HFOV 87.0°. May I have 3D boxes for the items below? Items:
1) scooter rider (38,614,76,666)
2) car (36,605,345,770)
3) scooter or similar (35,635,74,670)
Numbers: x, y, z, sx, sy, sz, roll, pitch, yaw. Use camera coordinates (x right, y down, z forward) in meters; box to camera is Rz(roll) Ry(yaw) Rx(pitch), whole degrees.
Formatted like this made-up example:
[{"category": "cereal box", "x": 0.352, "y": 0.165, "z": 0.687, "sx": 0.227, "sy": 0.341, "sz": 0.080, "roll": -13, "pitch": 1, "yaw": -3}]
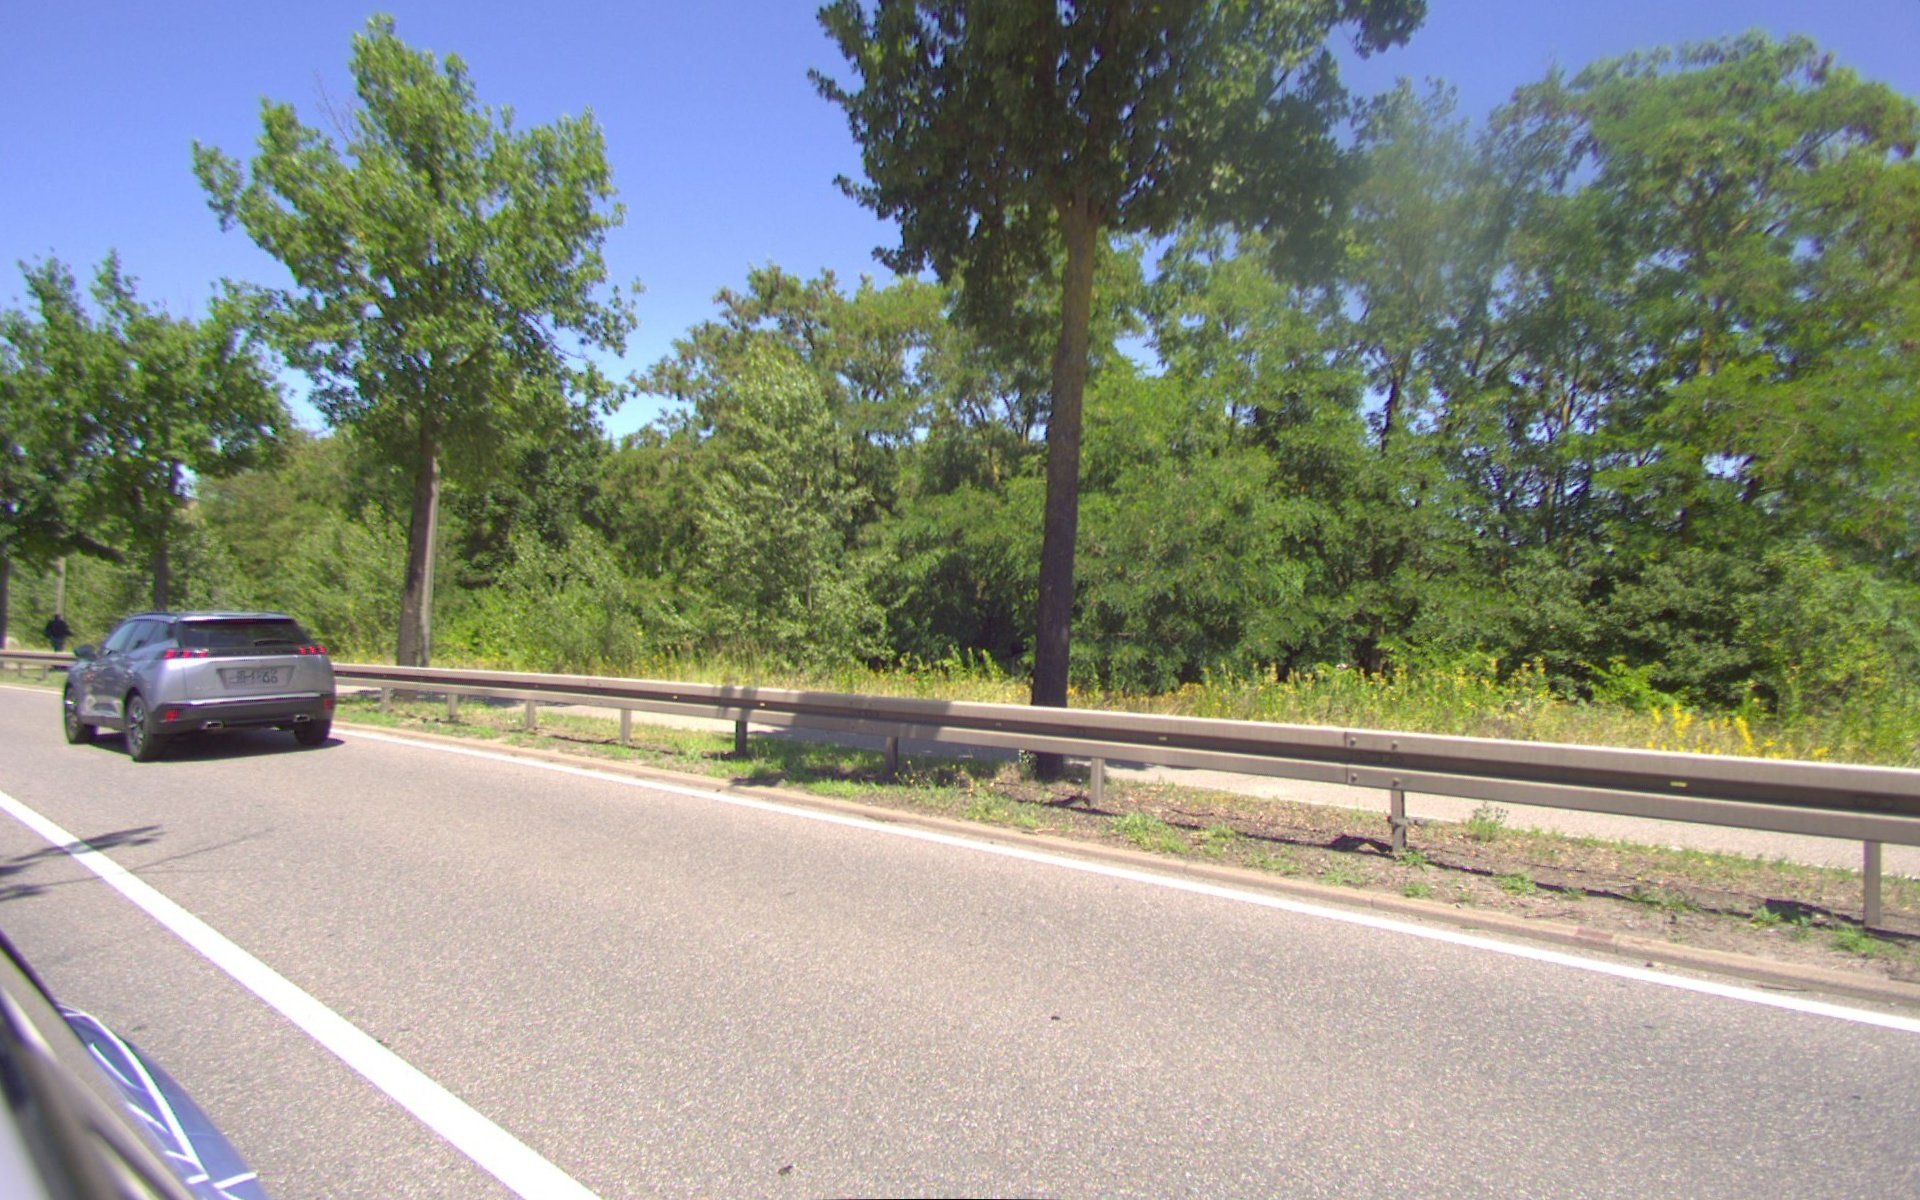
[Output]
[{"category": "scooter rider", "x": -29.582, "y": 1.304, "z": 33.159, "sx": 1.119, "sy": 1.670, "sz": 0.769, "roll": -1, "pitch": -1, "yaw": 39}, {"category": "car", "x": -8.876, "y": 0.861, "z": 11.566, "sx": 4.119, "sy": 1.567, "sz": 1.734, "roll": -1, "pitch": -1, "yaw": 36}, {"category": "scooter or similar", "x": -29.612, "y": 1.697, "z": 33.103, "sx": 1.093, "sy": 1.099, "sz": 0.769, "roll": -1, "pitch": -1, "yaw": 38}]
